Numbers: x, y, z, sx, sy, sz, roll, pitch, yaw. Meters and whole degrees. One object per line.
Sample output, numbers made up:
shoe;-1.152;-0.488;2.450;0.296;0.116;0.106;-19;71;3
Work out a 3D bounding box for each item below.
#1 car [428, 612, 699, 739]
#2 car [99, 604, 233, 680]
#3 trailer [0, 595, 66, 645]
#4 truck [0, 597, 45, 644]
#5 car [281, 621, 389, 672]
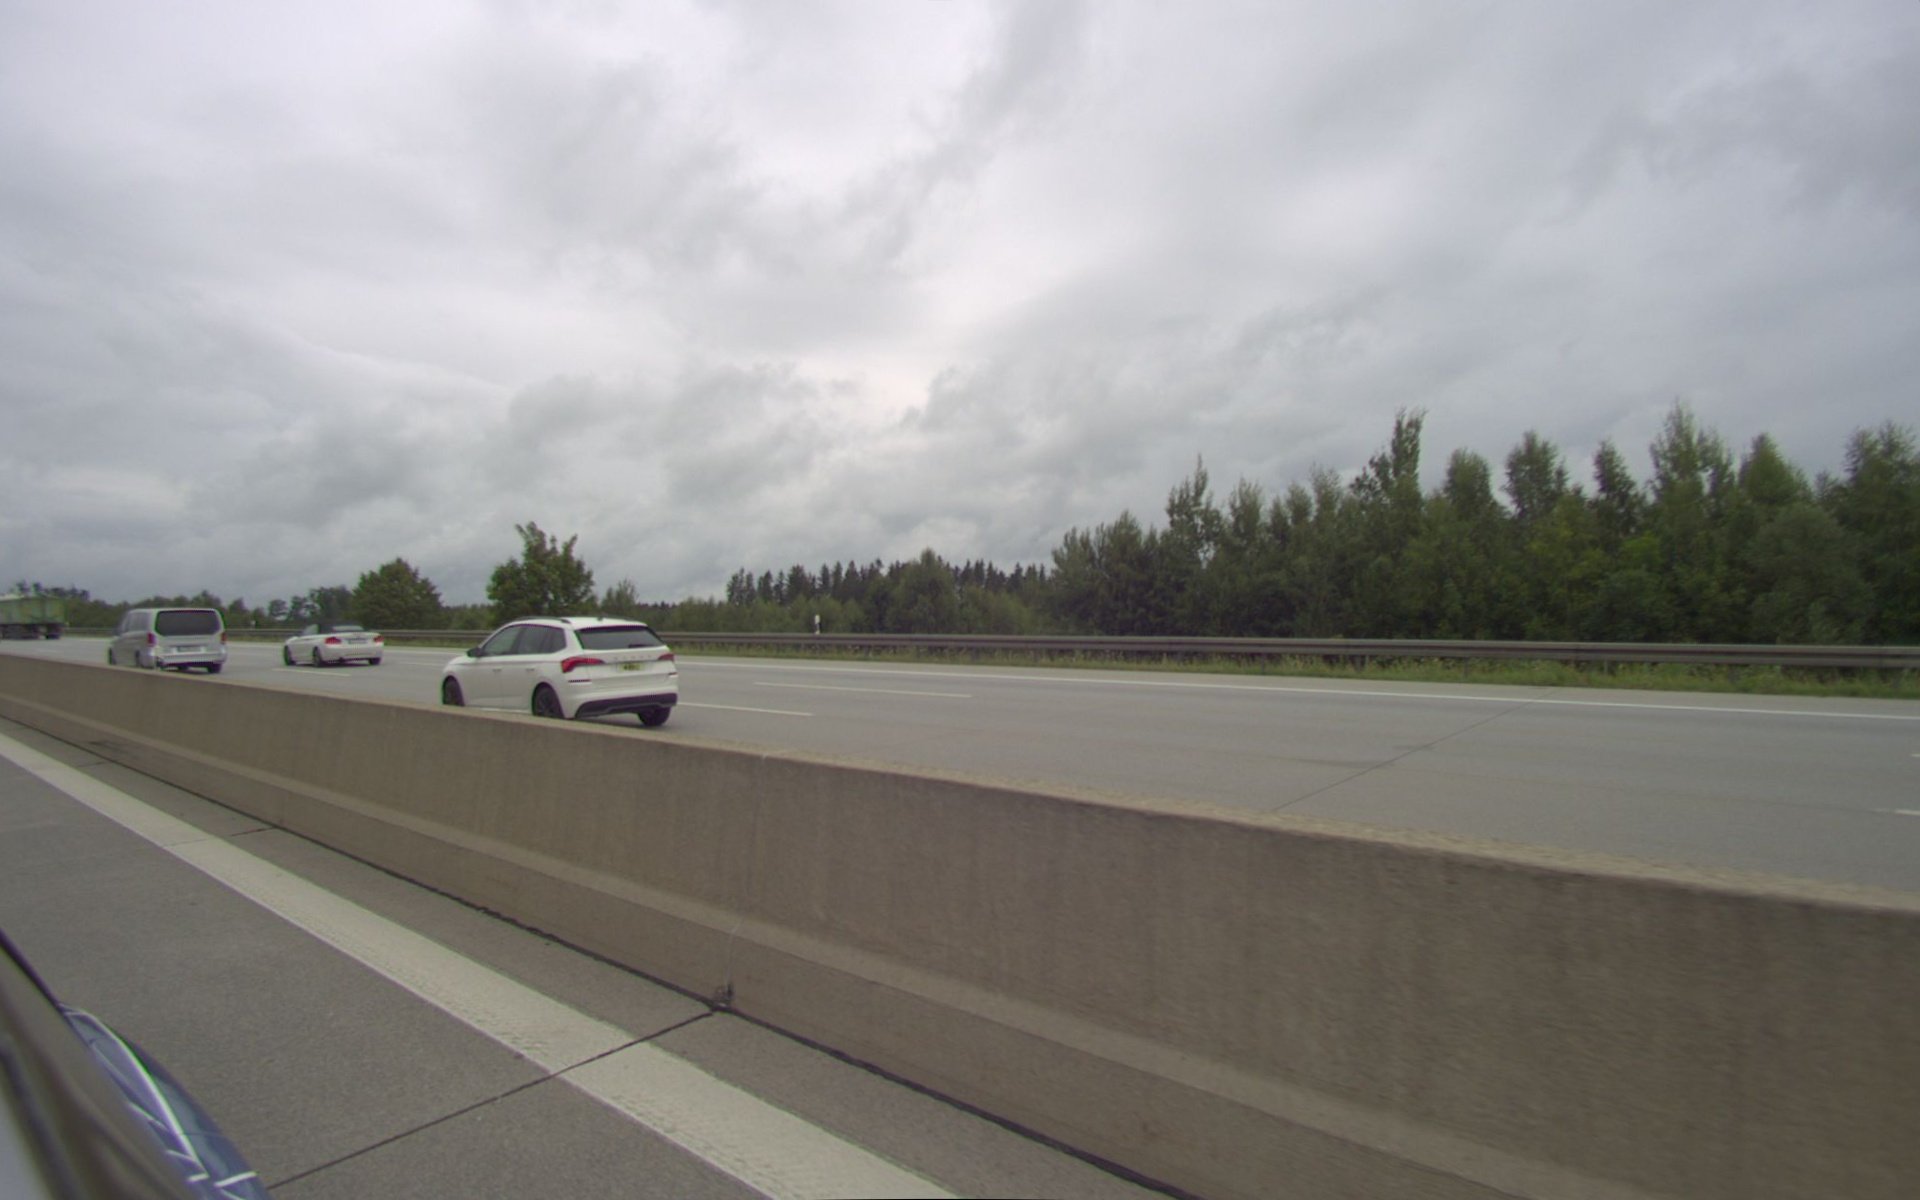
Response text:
car;-5.563;0.984;13.944;4.211;1.431;1.697;-3;-1;41
car;-23.256;1.235;29.556;5.520;2.029;1.973;-3;-3;40
trailer;-74.421;1.594;81.039;9.304;3.828;2.723;-1;-1;38
truck;-78.775;1.689;84.539;5.524;3.831;2.723;-1;0;39
car;-19.739;1.468;31.890;4.095;1.378;1.719;-3;1;41
